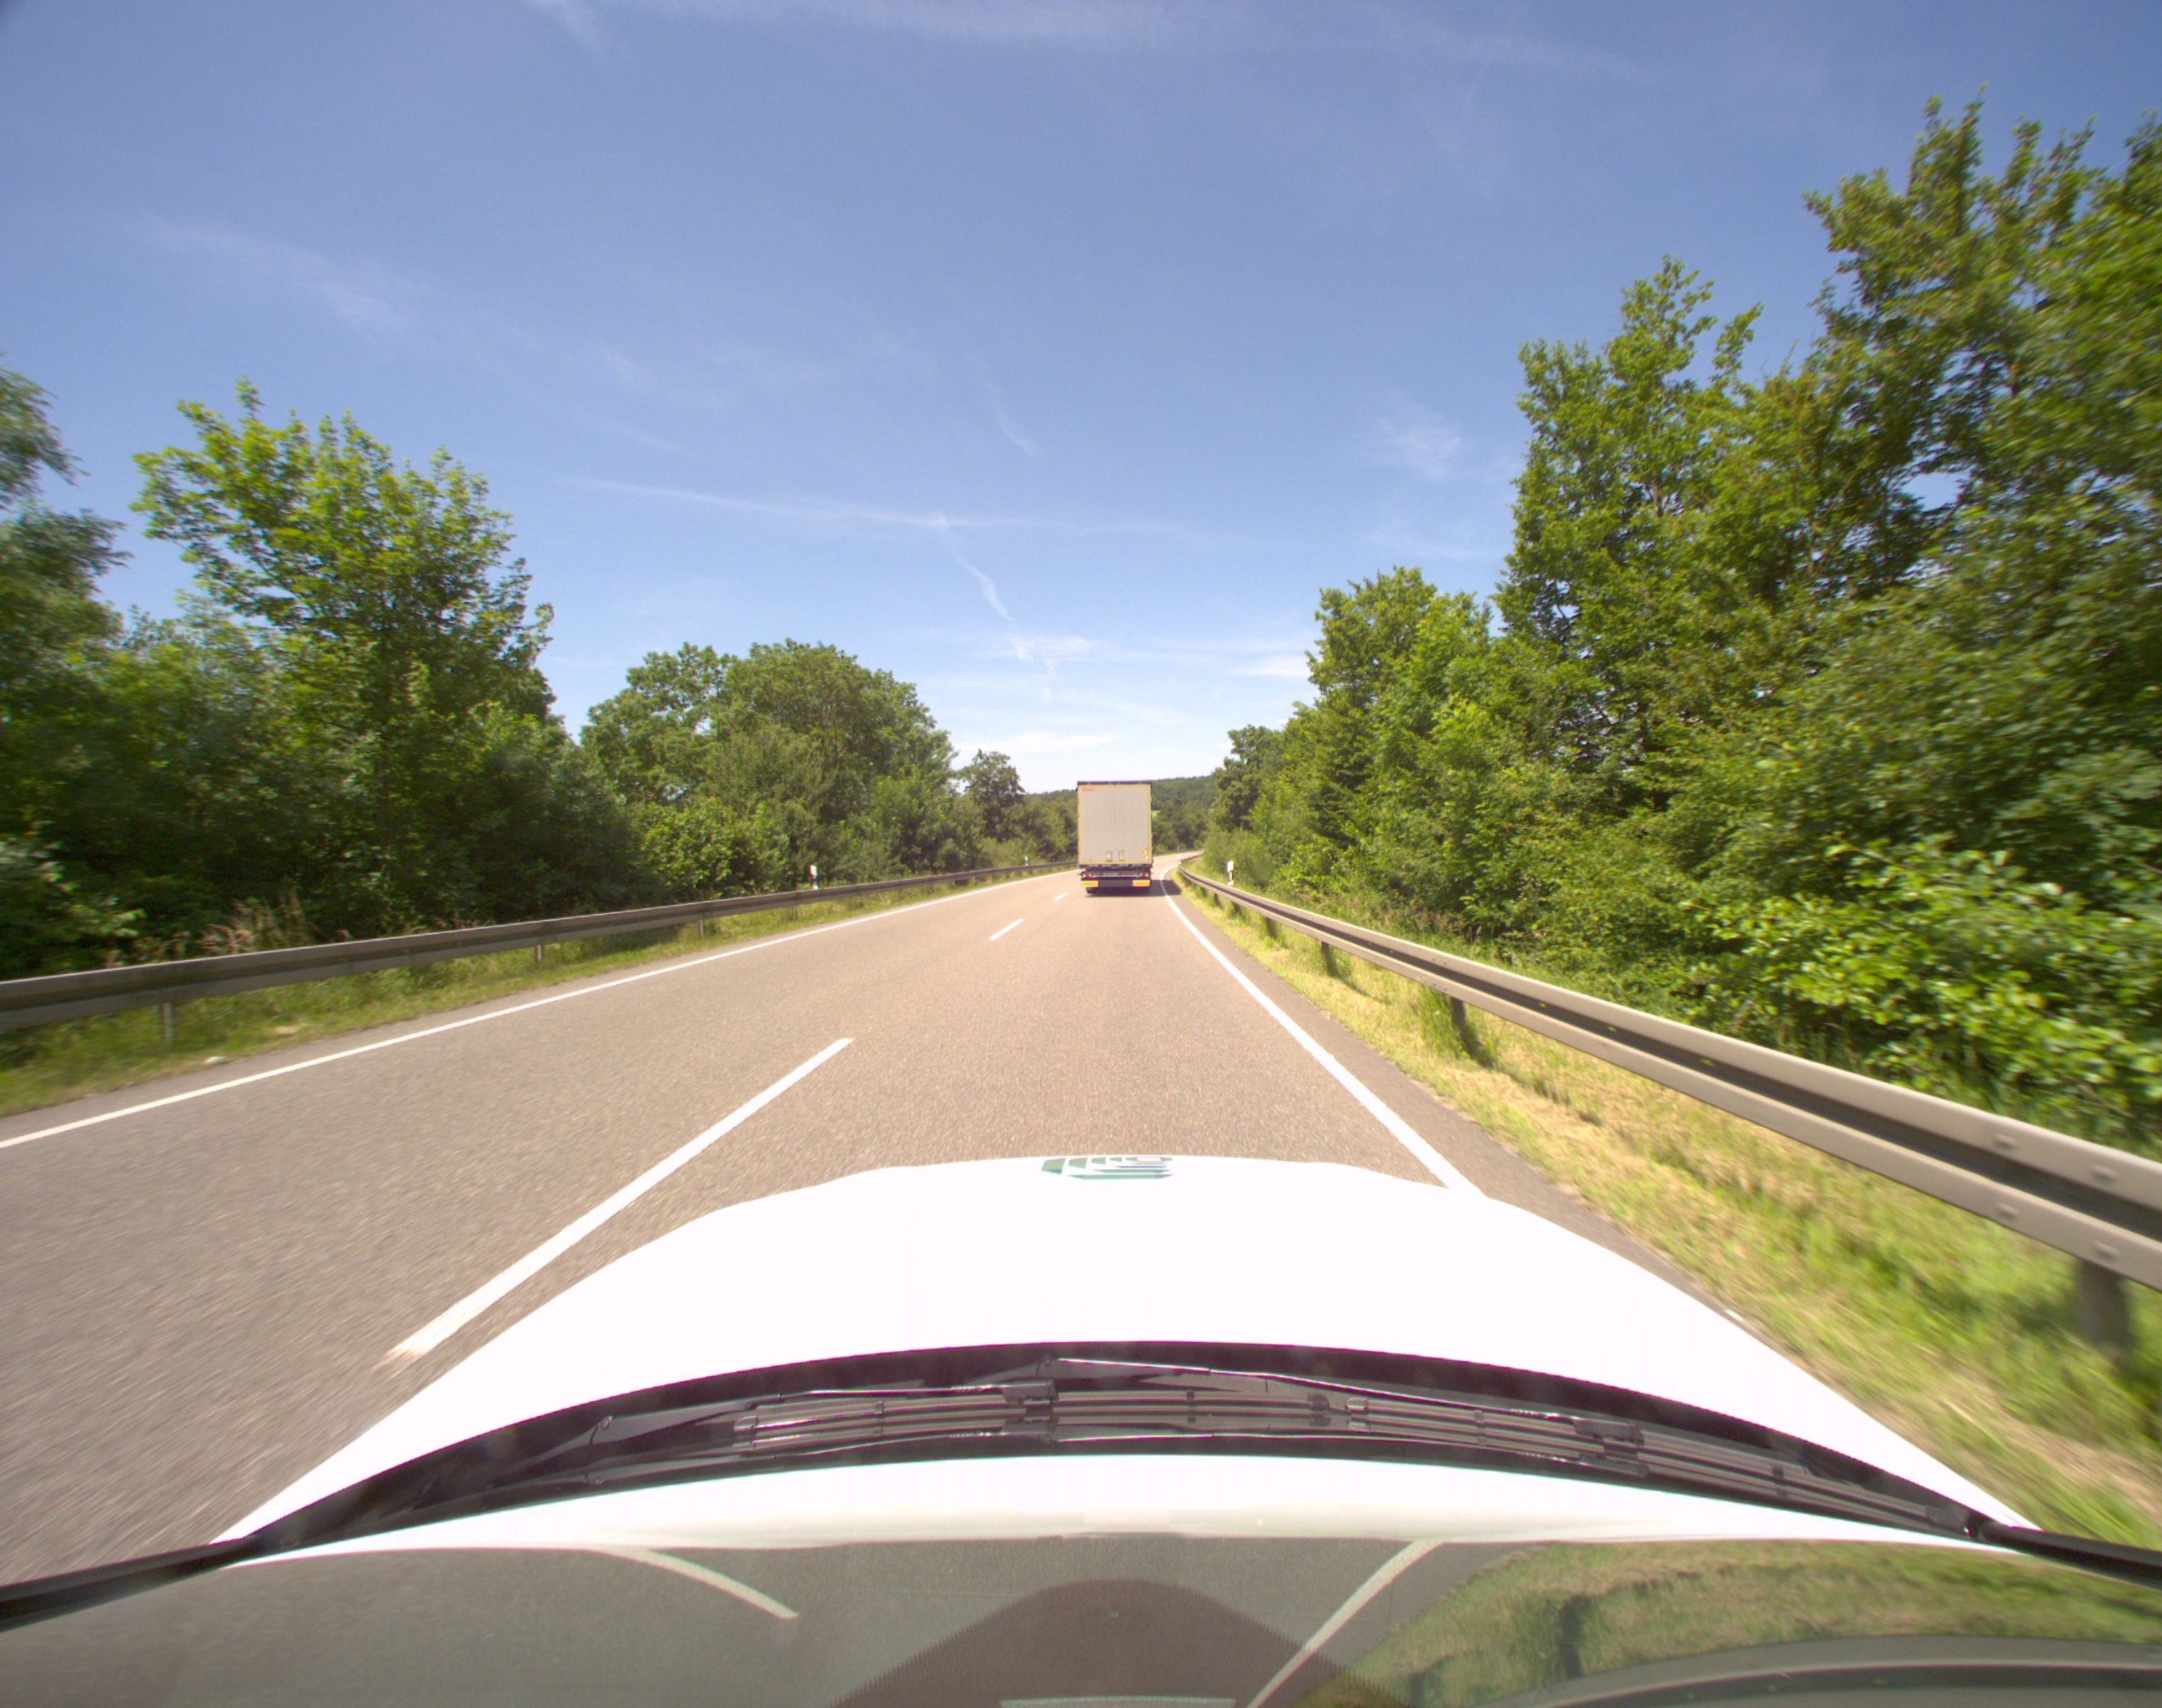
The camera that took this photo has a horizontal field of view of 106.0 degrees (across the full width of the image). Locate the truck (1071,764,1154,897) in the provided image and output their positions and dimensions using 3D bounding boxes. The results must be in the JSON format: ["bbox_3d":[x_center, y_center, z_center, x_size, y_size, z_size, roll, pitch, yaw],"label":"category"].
[{"bbox_3d":[1.478,-0.800,33.611,2.805,4.532,11.780,0,0,4],"label":"truck"}]
